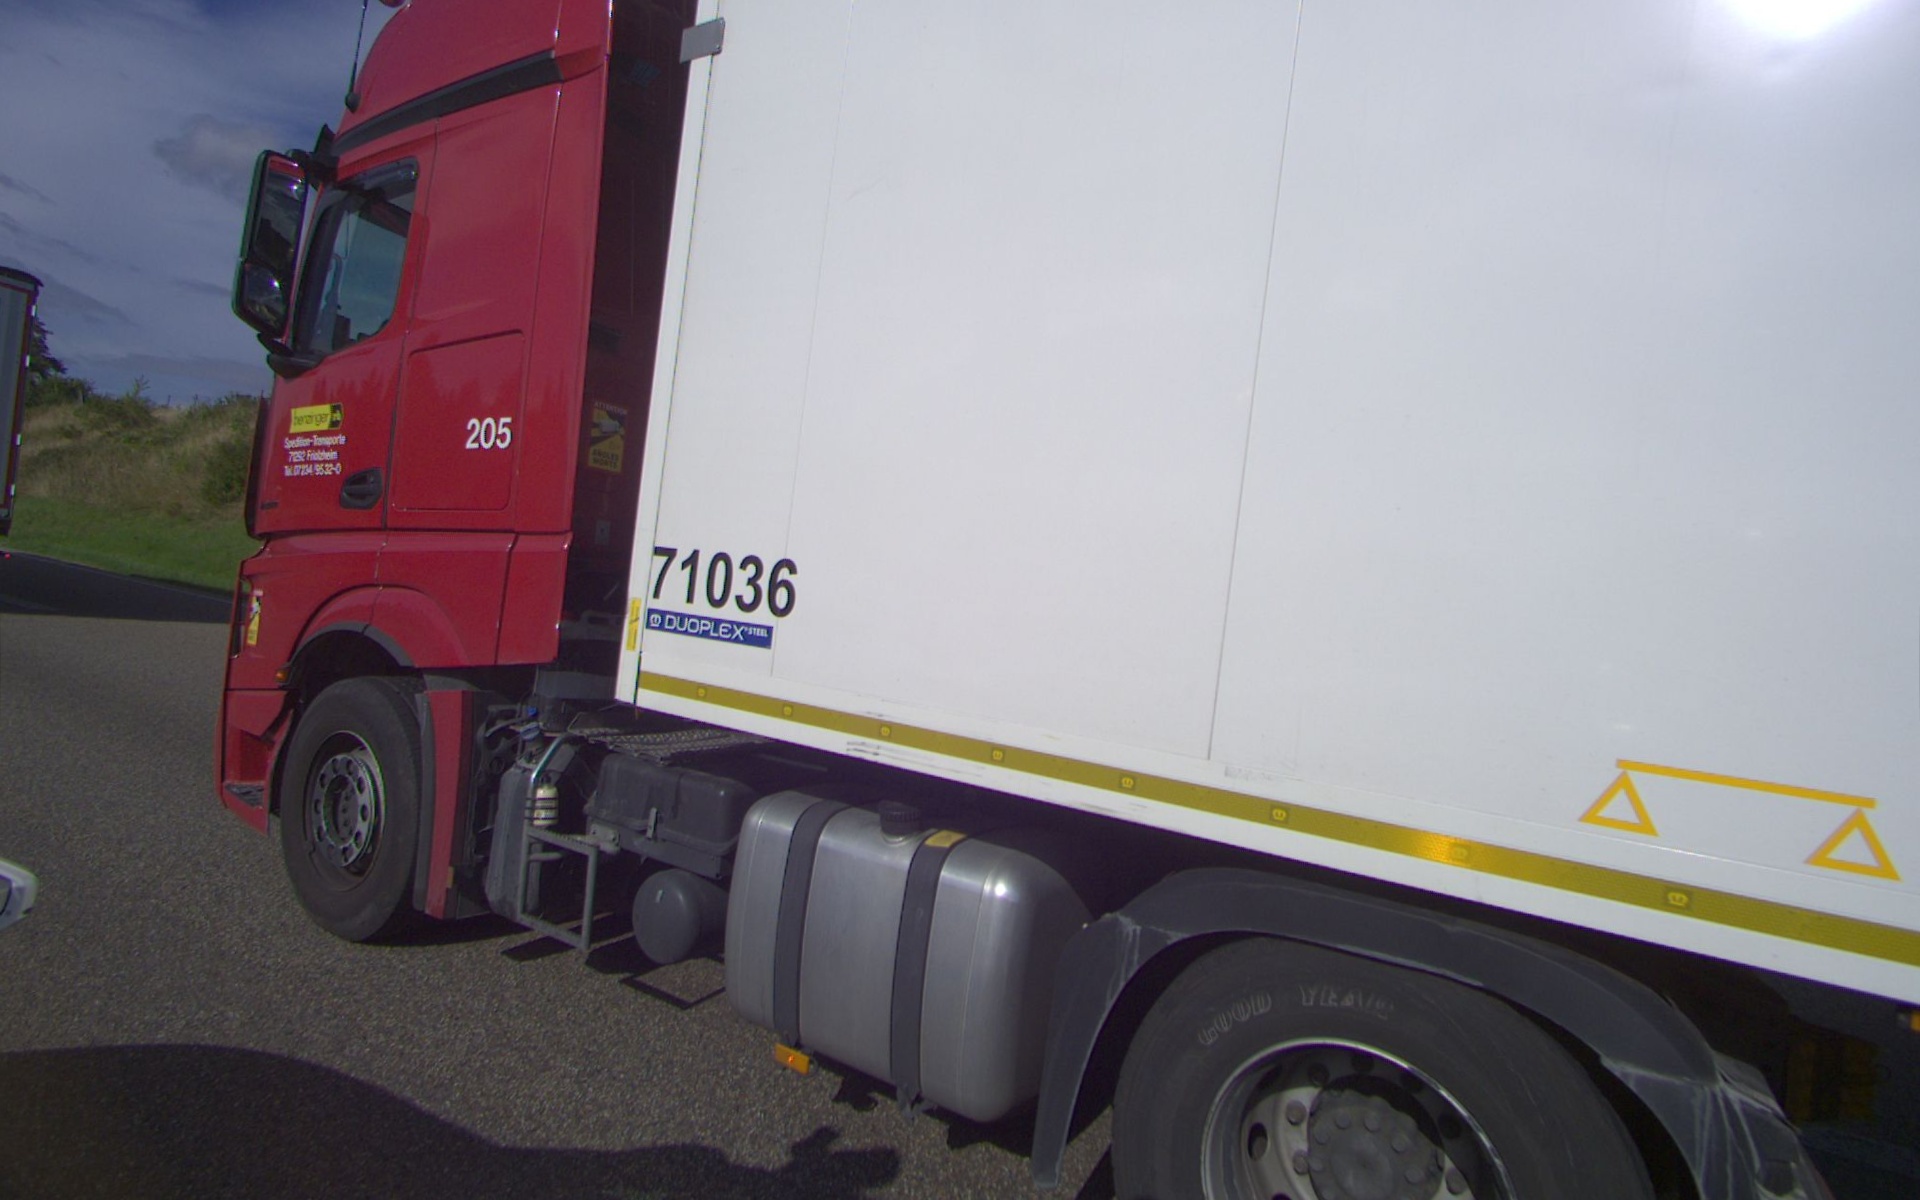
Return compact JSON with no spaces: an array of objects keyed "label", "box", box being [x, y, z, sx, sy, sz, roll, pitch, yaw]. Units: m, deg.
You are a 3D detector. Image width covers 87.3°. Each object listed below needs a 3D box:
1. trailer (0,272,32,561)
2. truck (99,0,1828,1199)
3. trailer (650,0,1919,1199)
[{"label":"trailer","box":[-17.500,-2.585,14.319,13.173,3.915,2.665,6,0,32]},{"label":"truck","box":[-0.466,-0.557,4.217,5.729,3.984,2.807,7,-1,32]},{"label":"trailer","box":[5.569,0.135,0.455,12.853,3.984,2.797,6,-1,32]}]
